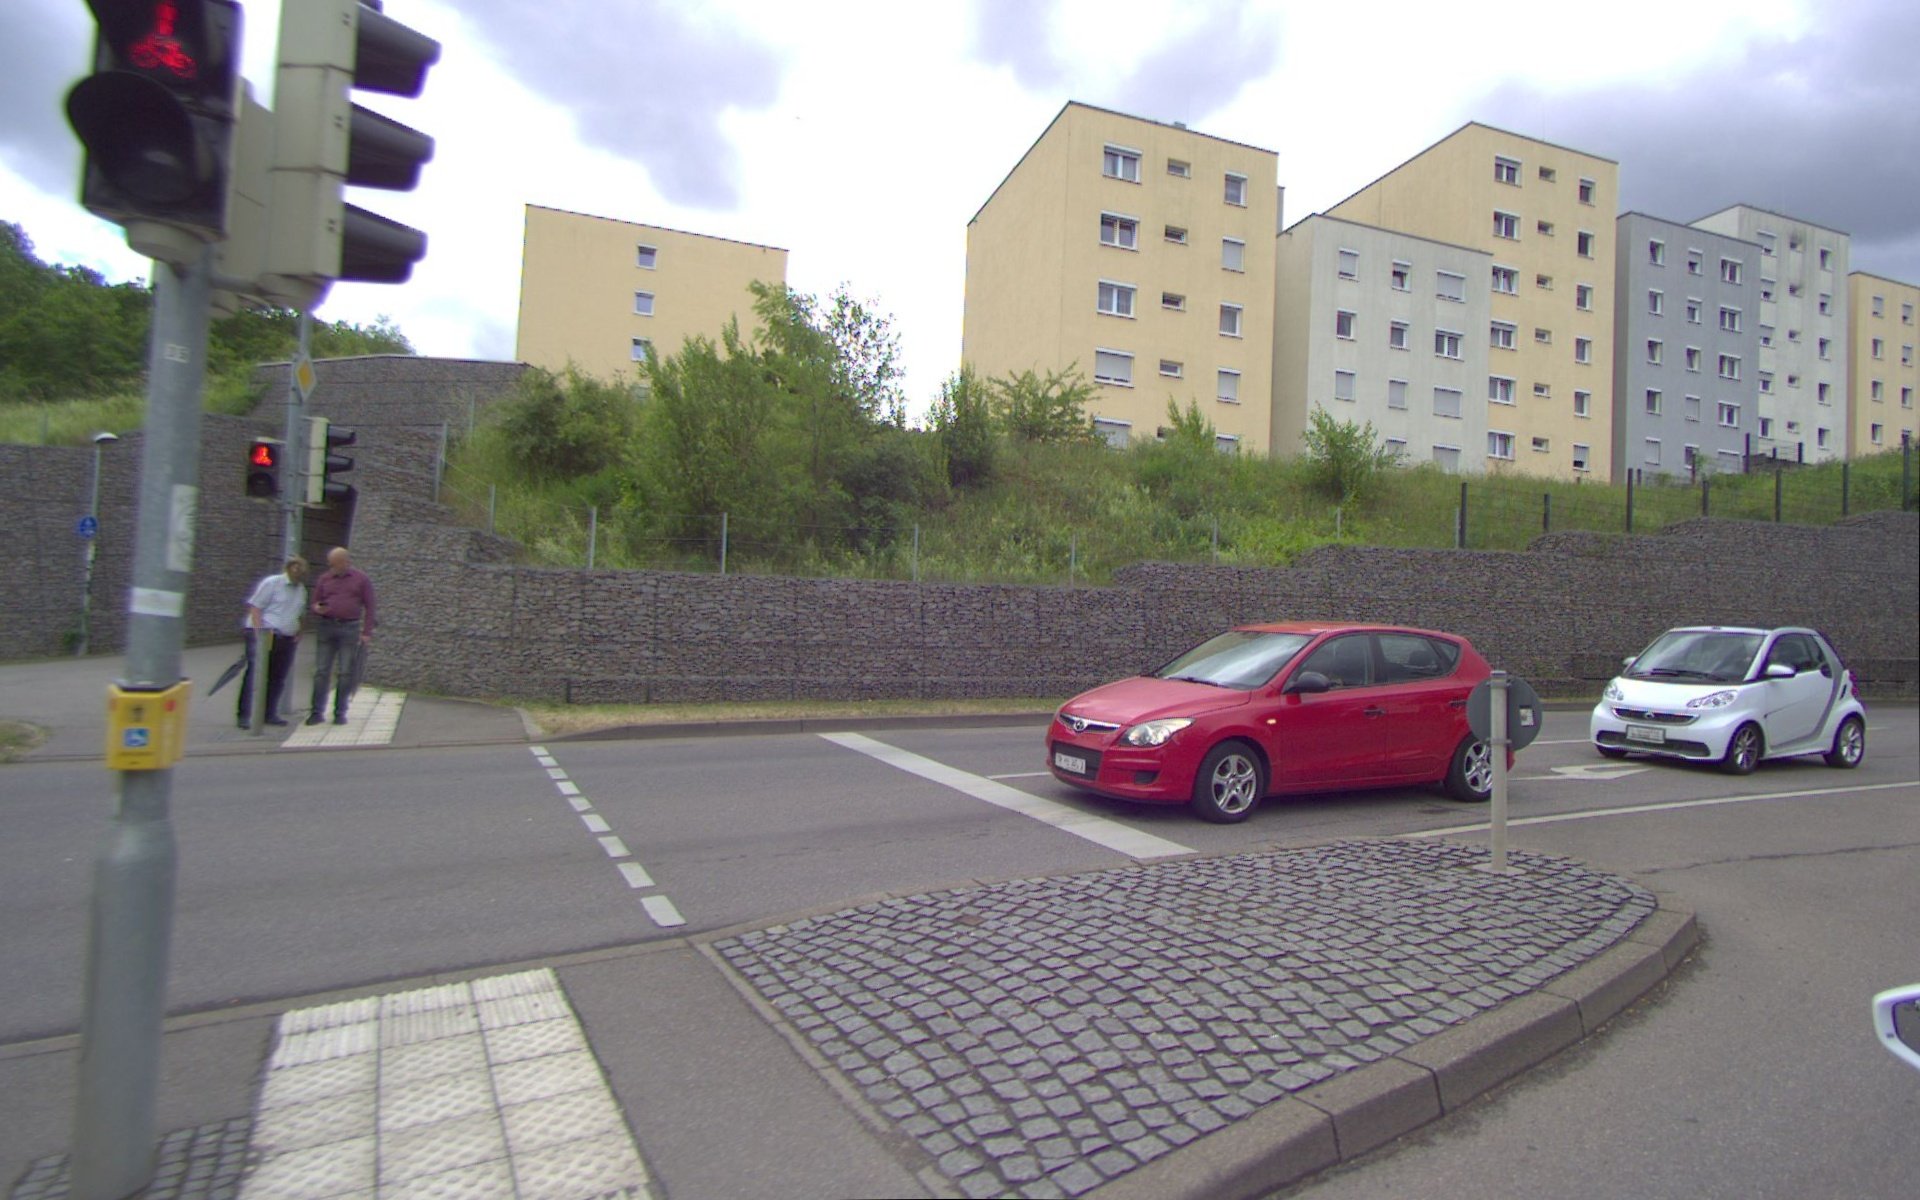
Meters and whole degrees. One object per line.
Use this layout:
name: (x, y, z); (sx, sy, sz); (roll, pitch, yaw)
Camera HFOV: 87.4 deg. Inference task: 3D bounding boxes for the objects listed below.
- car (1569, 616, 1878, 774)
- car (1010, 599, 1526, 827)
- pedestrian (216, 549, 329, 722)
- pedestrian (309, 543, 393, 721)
car: (8.548, 0.993, 11.280); (2.873, 1.543, 1.540); (2, 0, -23)
car: (2.618, 0.806, 8.471); (4.037, 1.543, 1.749); (1, 0, -25)
pedestrian: (-7.085, 0.358, 10.371); (0.612, 1.701, 0.665); (2, -1, 24)
pedestrian: (-6.601, 0.341, 10.885); (0.659, 1.851, 0.618); (3, -1, -35)
